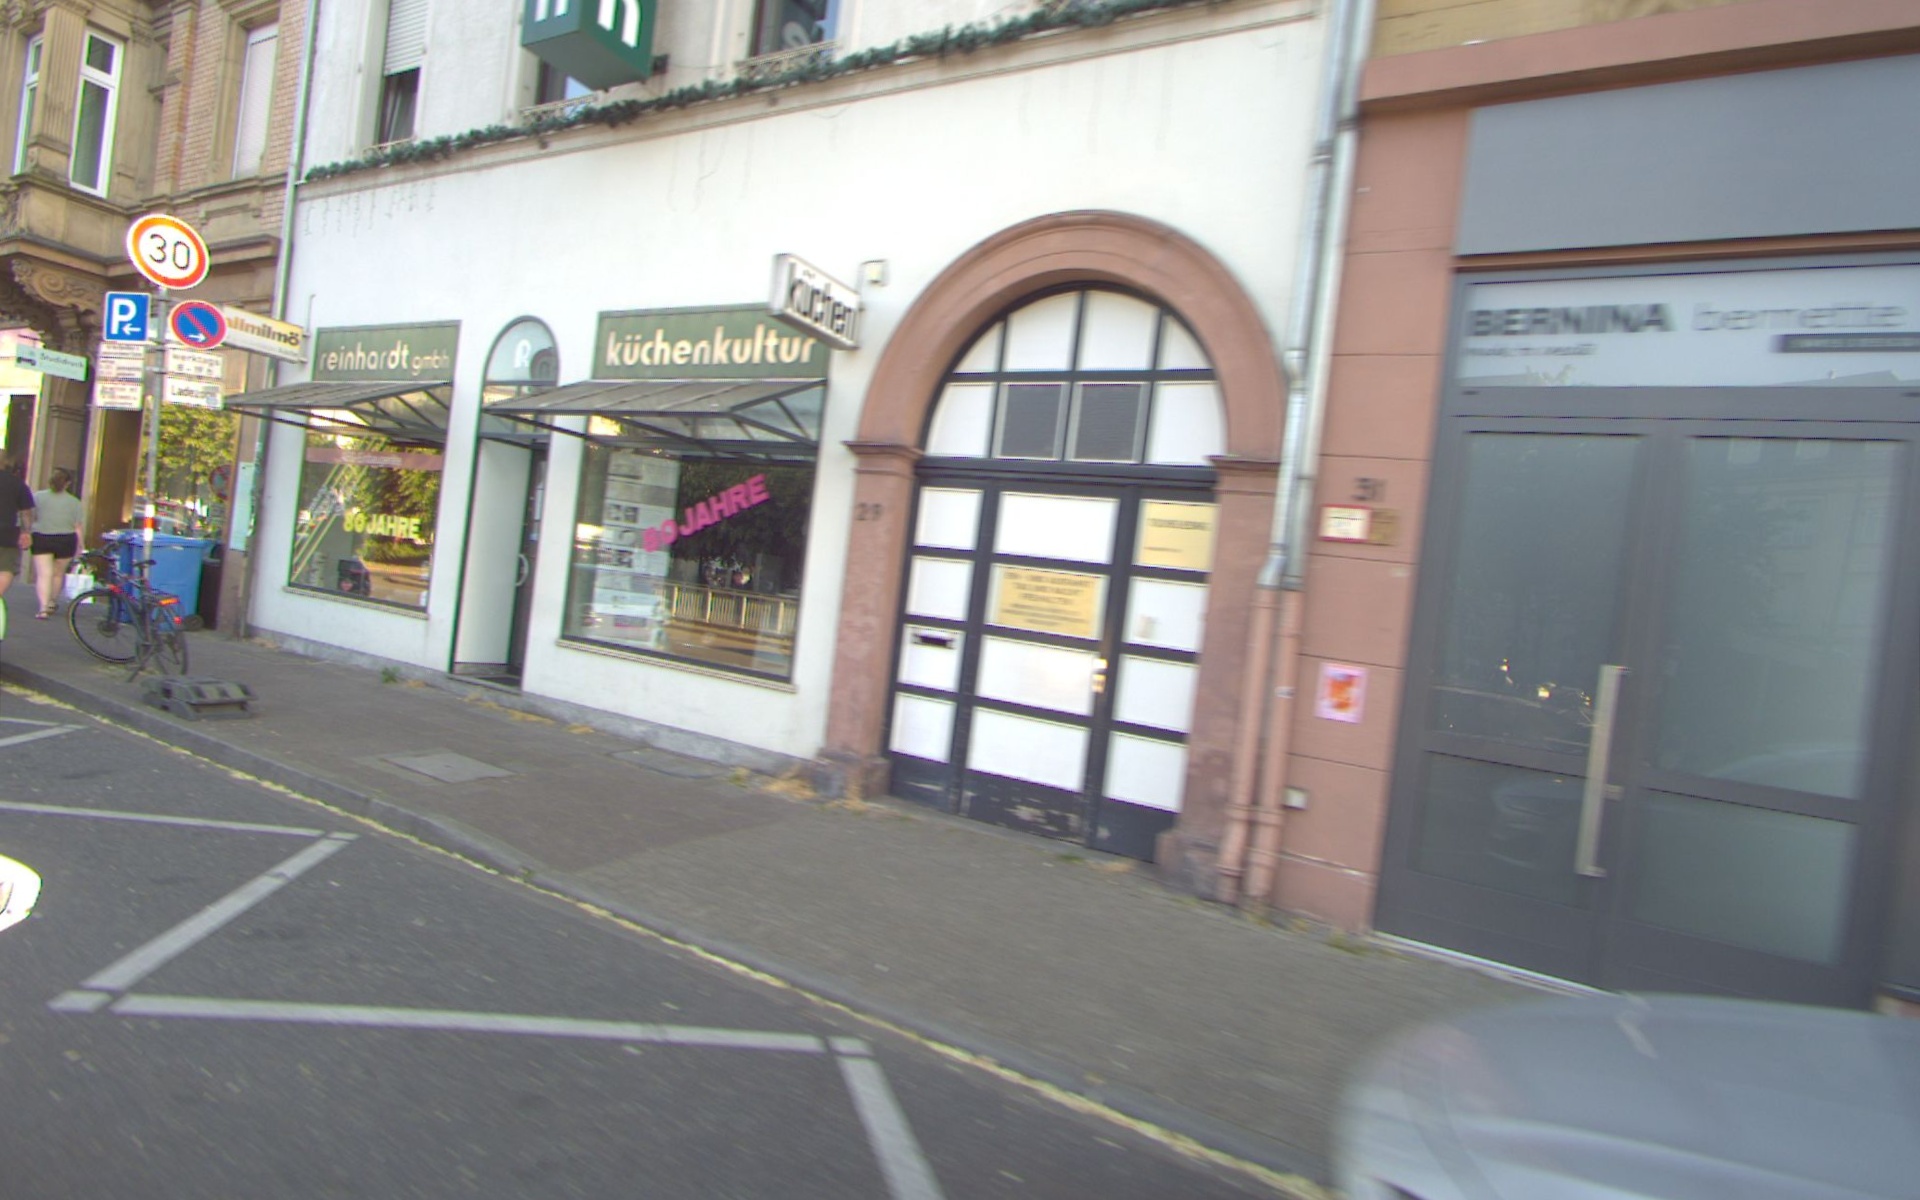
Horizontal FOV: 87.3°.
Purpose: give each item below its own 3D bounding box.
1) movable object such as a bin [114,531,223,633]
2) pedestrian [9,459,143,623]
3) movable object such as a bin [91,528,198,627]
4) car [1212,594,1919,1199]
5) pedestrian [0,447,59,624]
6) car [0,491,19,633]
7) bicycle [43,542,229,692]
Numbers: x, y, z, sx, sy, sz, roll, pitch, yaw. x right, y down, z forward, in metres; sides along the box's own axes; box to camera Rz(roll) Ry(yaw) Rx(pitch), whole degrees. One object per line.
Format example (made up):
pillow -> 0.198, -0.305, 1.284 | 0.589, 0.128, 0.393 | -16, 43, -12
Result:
movable object such as a bin -> -9.200, -0.198, 11.708 | 0.607, 1.084, 0.775 | 7, 2, 30
pedestrian -> -10.202, -0.670, 11.614 | 1.024, 1.734, 0.773 | 8, 2, 30
movable object such as a bin -> -9.745, -0.262, 12.036 | 0.607, 1.084, 0.775 | 7, 2, 30
car -> 2.765, 1.100, 0.847 | 4.738, 1.554, 1.764 | 7, -3, 28
pedestrian -> -10.531, -0.735, 10.898 | 0.993, 1.851, 0.773 | 8, 2, 30
car -> -9.239, -0.291, 8.087 | 3.229, 1.554, 1.535 | 6, -2, 32
bicycle -> -7.068, 0.127, 8.595 | 1.914, 1.028, 0.505 | 7, 1, 30
